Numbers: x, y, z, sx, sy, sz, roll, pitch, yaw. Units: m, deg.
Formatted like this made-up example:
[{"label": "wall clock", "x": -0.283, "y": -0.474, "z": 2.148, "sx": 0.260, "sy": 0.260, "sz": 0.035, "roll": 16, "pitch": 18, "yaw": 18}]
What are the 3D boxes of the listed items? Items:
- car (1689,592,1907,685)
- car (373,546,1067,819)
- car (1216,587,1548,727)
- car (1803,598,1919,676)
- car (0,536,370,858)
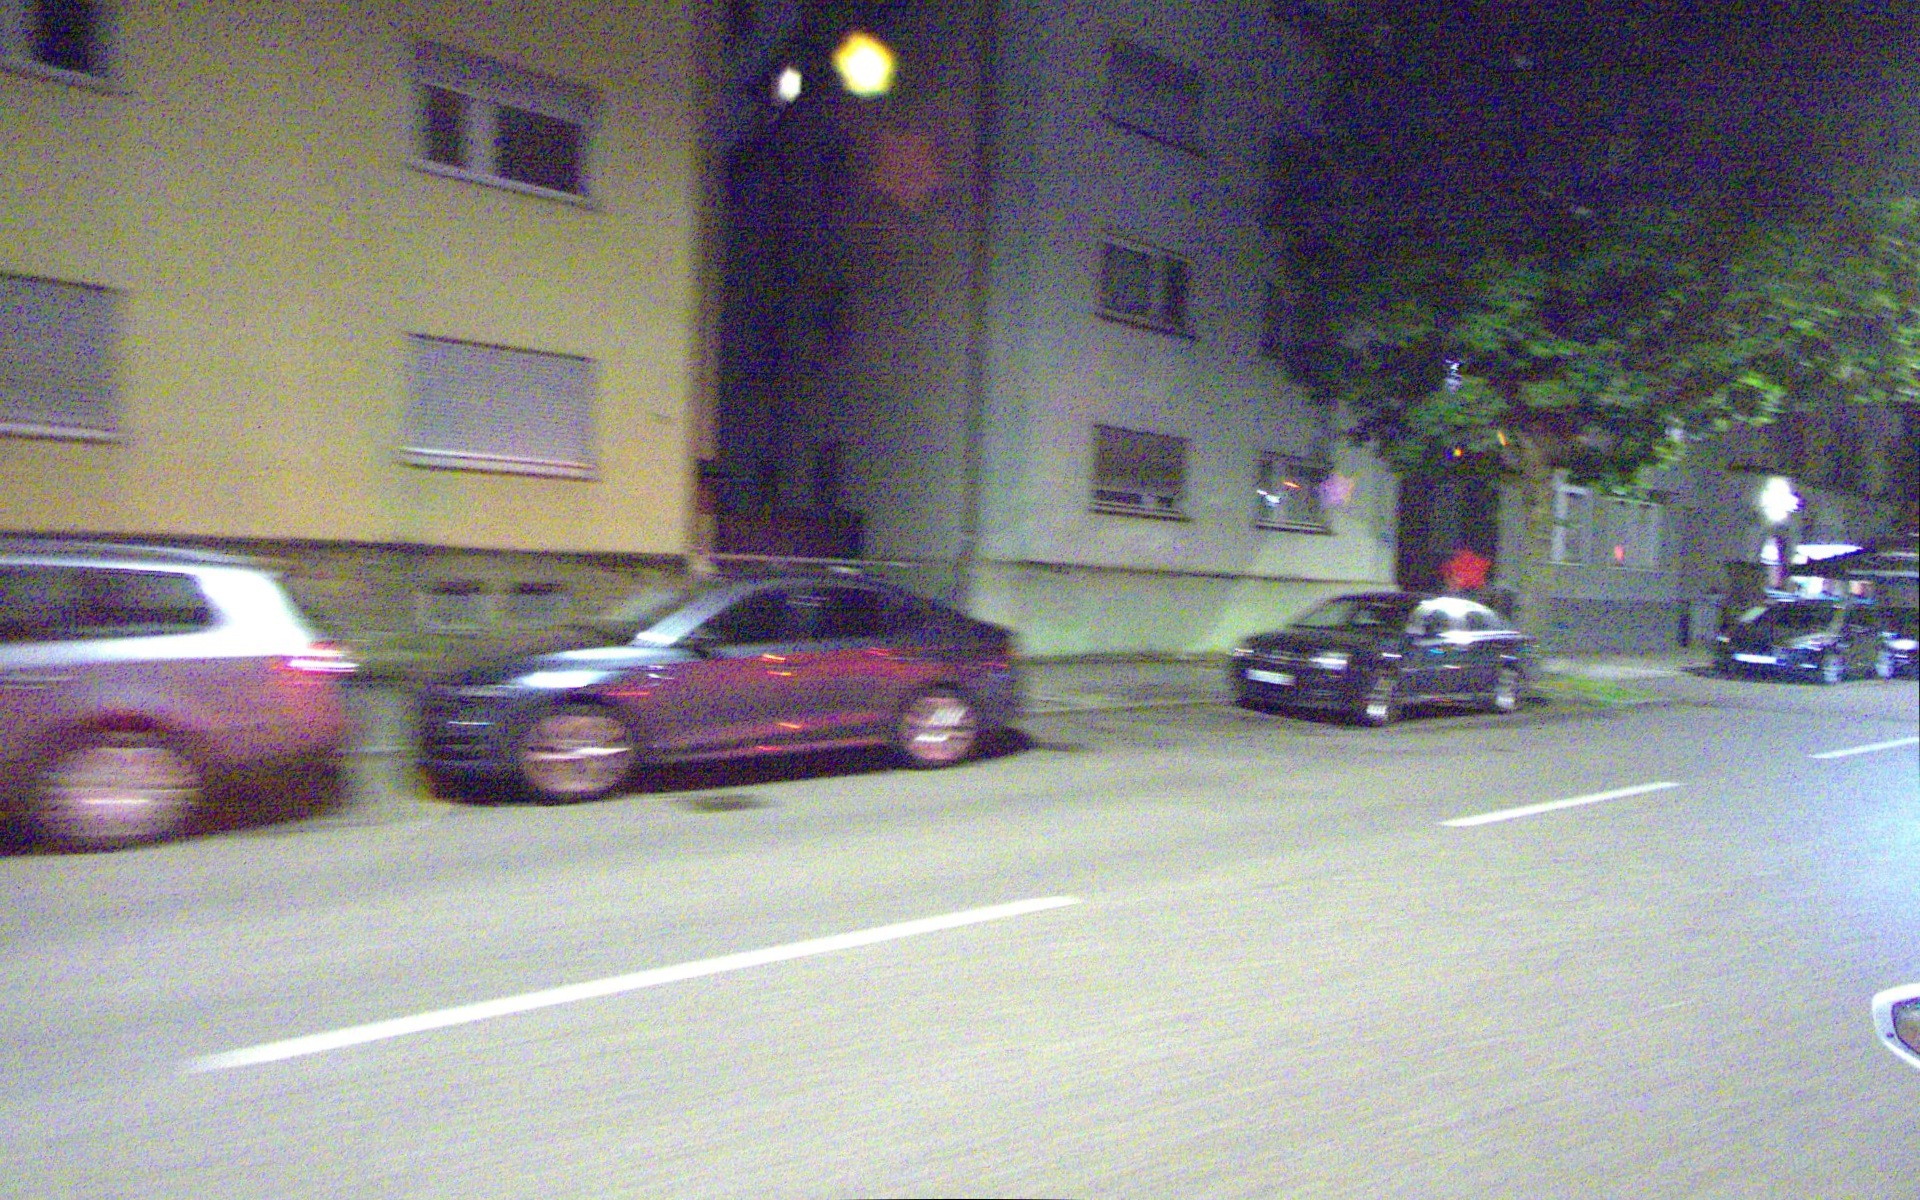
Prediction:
[{"label": "car", "x": 16.087, "y": 0.692, "z": 19.242, "sx": 4.403, "sy": 1.491, "sz": 1.888, "roll": 1, "pitch": 3, "yaw": -32}, {"label": "car", "x": -1.617, "y": 0.475, "z": 7.607, "sx": 4.812, "sy": 1.505, "sz": 1.757, "roll": 1, "pitch": 1, "yaw": -34}, {"label": "car", "x": 5.215, "y": 0.606, "z": 12.175, "sx": 4.408, "sy": 1.401, "sz": 1.611, "roll": 1, "pitch": 1, "yaw": -36}, {"label": "car", "x": 20.317, "y": 0.763, "z": 21.889, "sx": 4.277, "sy": 1.501, "sz": 1.793, "roll": 1, "pitch": 1, "yaw": -33}, {"label": "car", "x": -5.683, "y": 0.419, "z": 4.920, "sx": 4.719, "sy": 1.505, "sz": 1.757, "roll": 1, "pitch": 1, "yaw": -35}]
